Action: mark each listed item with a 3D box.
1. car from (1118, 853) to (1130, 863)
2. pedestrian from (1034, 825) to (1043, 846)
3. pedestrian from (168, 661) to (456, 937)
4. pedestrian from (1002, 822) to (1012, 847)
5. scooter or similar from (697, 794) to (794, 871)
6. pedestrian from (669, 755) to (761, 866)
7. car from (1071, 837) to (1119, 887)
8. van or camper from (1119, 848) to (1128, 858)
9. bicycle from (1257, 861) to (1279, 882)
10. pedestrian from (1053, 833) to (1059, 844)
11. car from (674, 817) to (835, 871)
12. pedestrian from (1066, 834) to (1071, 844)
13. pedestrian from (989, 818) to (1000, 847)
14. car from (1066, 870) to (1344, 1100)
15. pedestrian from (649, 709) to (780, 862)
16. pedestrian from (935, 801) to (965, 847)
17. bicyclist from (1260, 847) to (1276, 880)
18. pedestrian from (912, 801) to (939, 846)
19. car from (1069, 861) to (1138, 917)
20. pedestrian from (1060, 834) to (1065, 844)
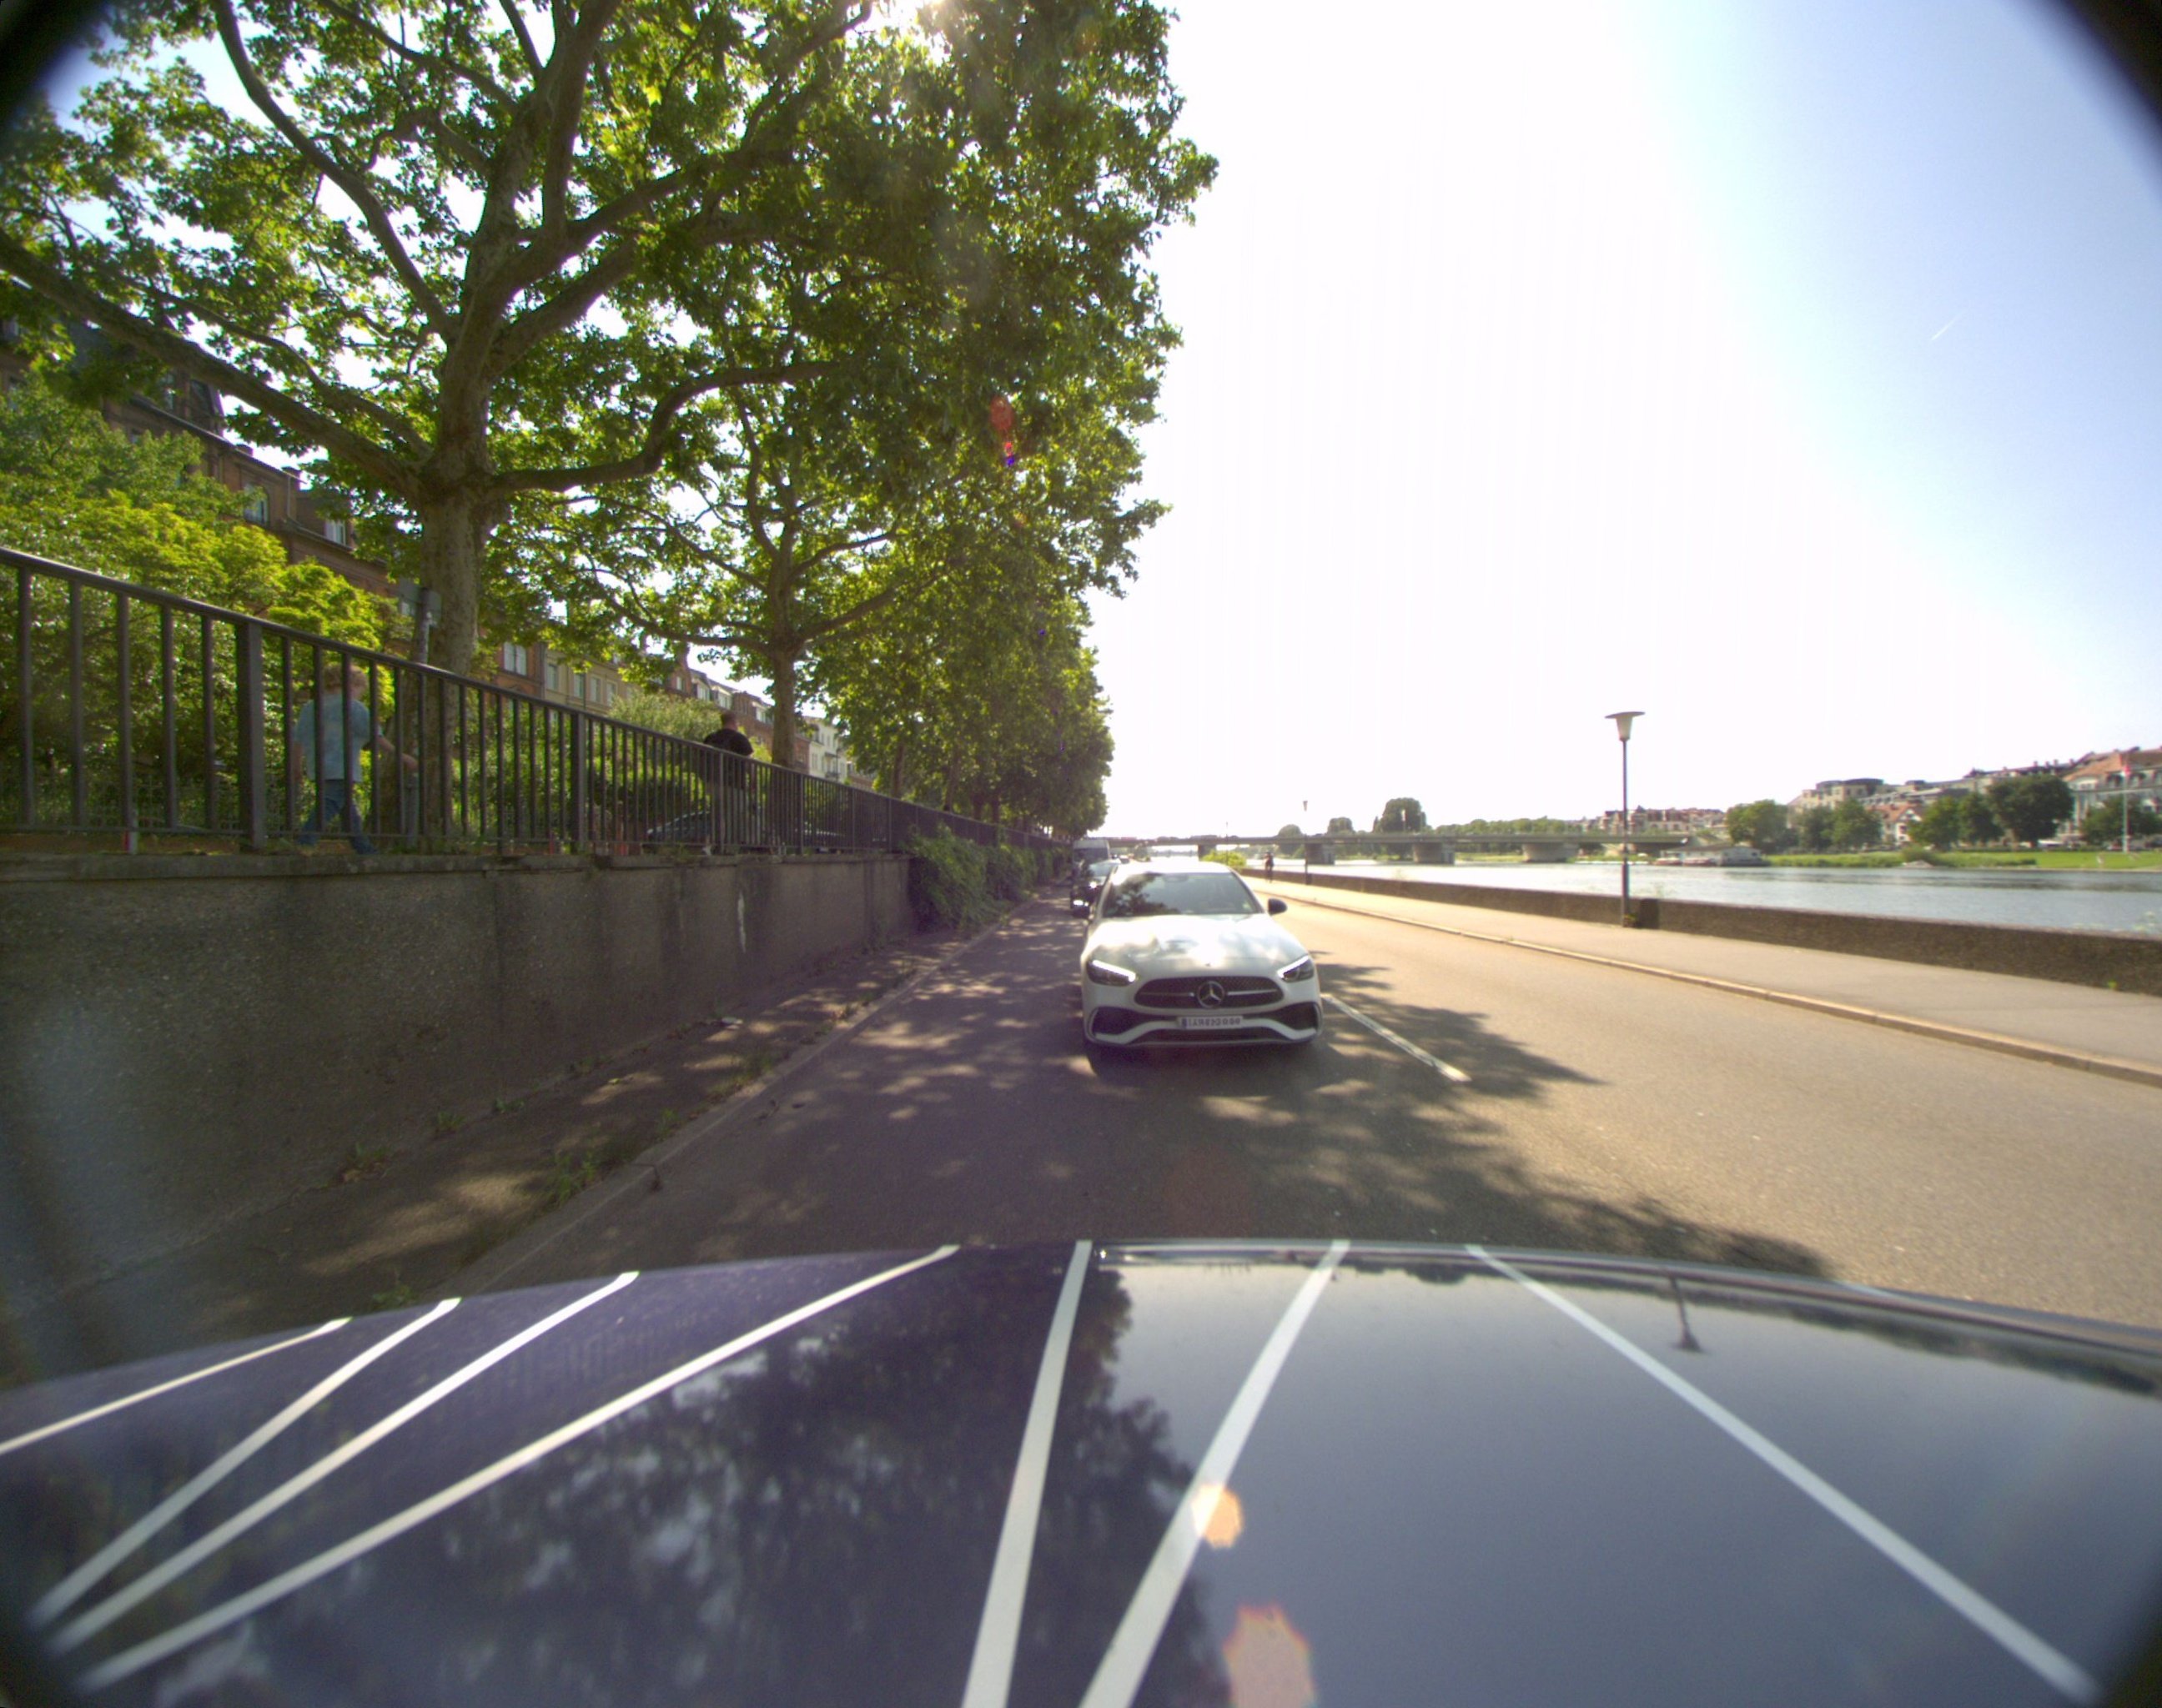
[{"bbox_3d":[6.810,0.610,120.494,1.736,1.433,4.045,1,0,0],"label":"car"},{"bbox_3d":[-3.196,-1.397,57.134,0.666,1.582,0.651,0,1,1],"label":"pedestrian"},{"bbox_3d":[-4.403,-0.288,4.438,0.682,1.416,0.949,2,1,0],"label":"pedestrian"},{"bbox_3d":[-4.334,-1.141,44.370,0.586,1.411,0.589,0,1,-7],"label":"pedestrian"},{"bbox_3d":[-4.755,-0.291,10.839,0.857,1.020,1.107,2,0,0],"label":"scooter or similar"},{"bbox_3d":[-4.770,-0.543,9.964,0.682,1.358,0.989,2,0,0],"label":"pedestrian"},{"bbox_3d":[0.704,0.399,40.450,2.351,2.428,6.208,0,0,0],"label":"car"},{"bbox_3d":[10.183,-0.172,181.941,2.082,2.384,5.385,1,0,1],"label":"van or camper"},{"bbox_3d":[9.667,0.900,39.281,0.634,1.006,1.986,0,0,0],"label":"bicycle"},{"bbox_3d":[-2.884,-1.767,87.229,0.713,1.236,0.742,0,1,0],"label":"pedestrian"},{"bbox_3d":[-8.345,-0.253,19.522,3.528,1.228,1.515,2,0,11],"label":"car"},{"bbox_3d":[-1.979,-2.402,118.898,0.666,1.582,0.765,0,1,1],"label":"pedestrian"},{"bbox_3d":[-5.038,-1.248,44.185,0.649,1.630,0.626,0,1,-7],"label":"pedestrian"},{"bbox_3d":[0.892,0.937,7.405,1.830,1.411,4.552,-2,0,1],"label":"car"},{"bbox_3d":[-4.050,-0.719,8.486,0.939,1.570,1.028,2,1,-1],"label":"pedestrian"},{"bbox_3d":[-4.036,-0.926,23.449,0.755,1.358,0.814,2,1,-1],"label":"pedestrian"},{"bbox_3d":[9.661,0.490,39.261,0.639,1.664,0.871,0,1,0],"label":"bicyclist"},{"bbox_3d":[-4.851,-0.945,23.751,0.645,1.358,0.794,2,1,-1],"label":"pedestrian"},{"bbox_3d":[0.589,0.933,22.127,1.756,1.385,4.619,-2,0,0],"label":"car"},{"bbox_3d":[-2.867,-2.376,119.340,0.738,1.582,0.811,0,1,1],"label":"pedestrian"}]
